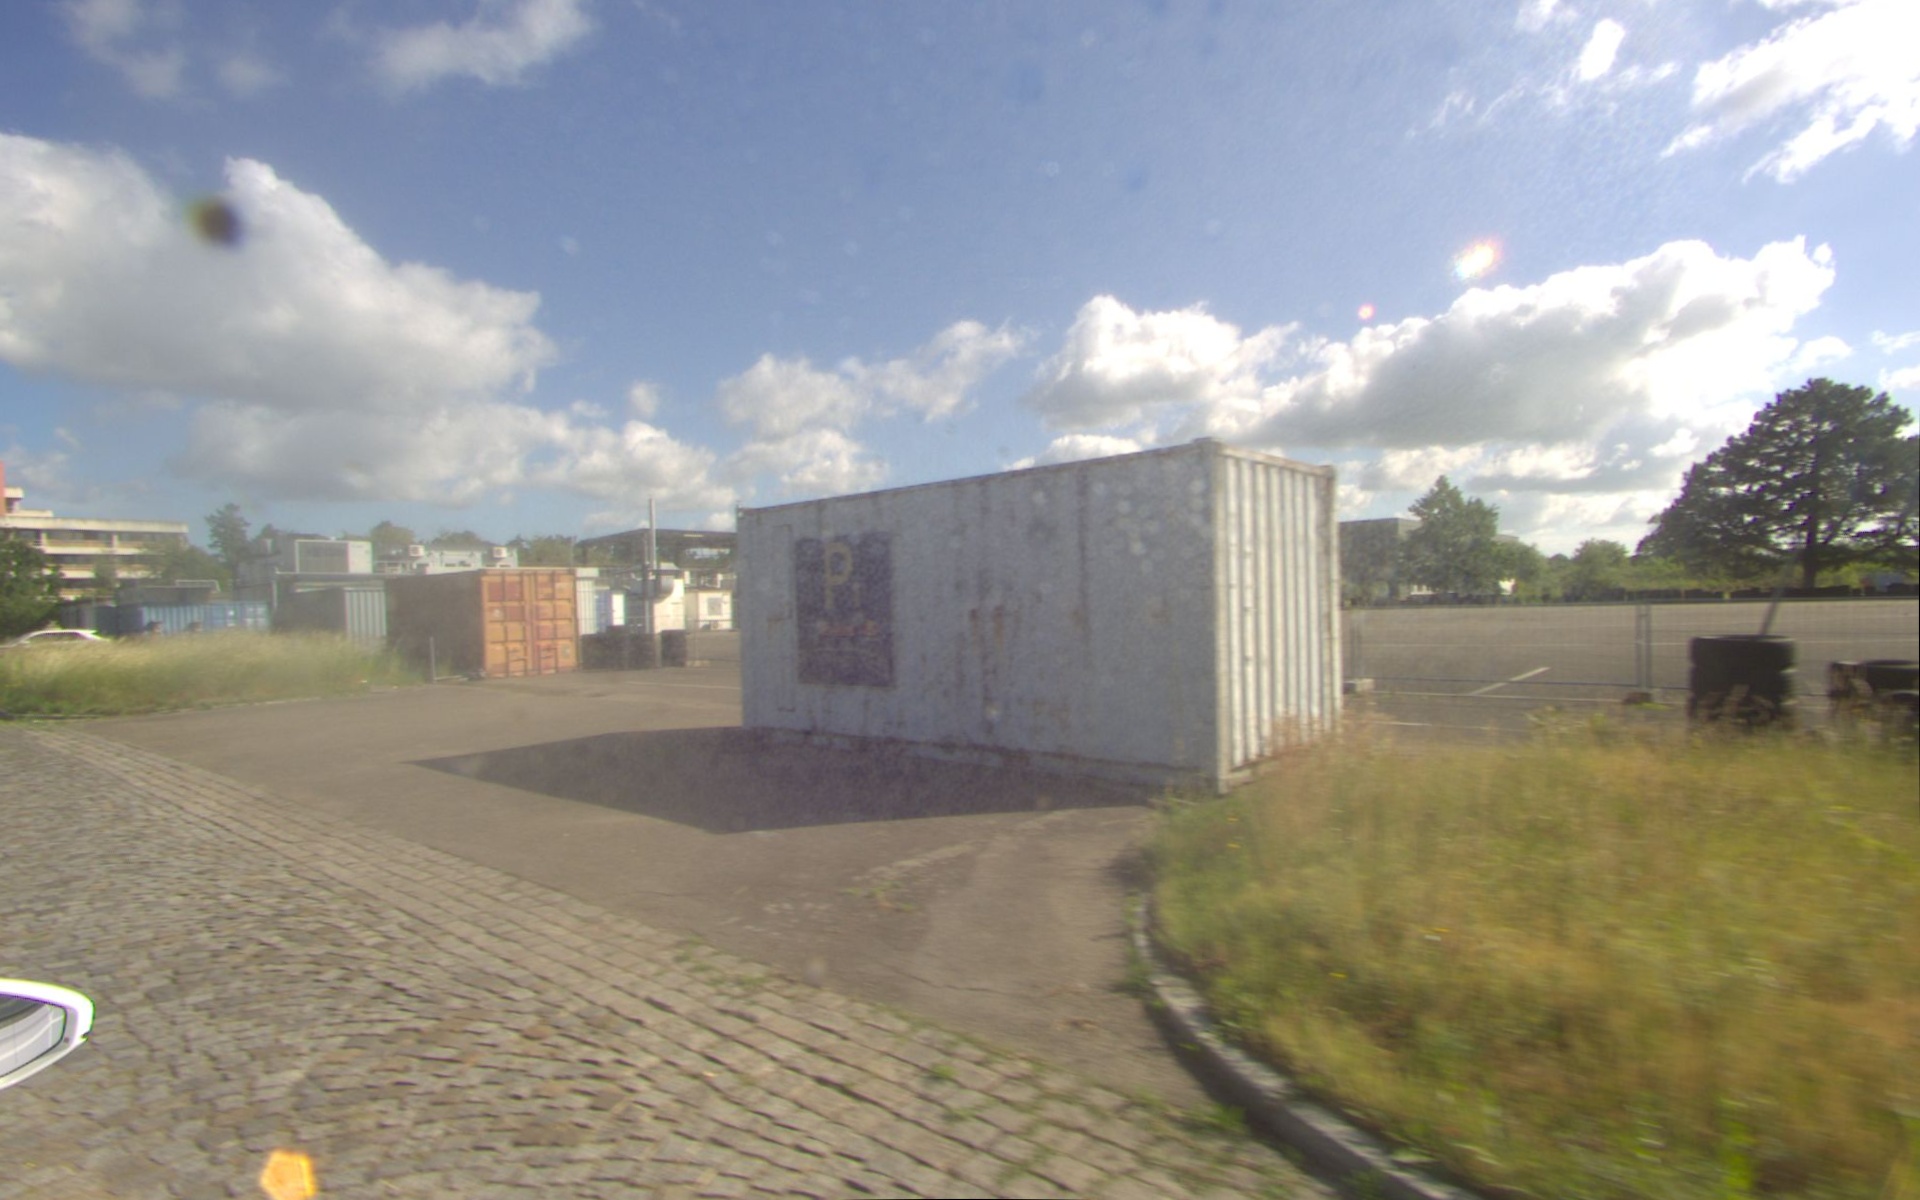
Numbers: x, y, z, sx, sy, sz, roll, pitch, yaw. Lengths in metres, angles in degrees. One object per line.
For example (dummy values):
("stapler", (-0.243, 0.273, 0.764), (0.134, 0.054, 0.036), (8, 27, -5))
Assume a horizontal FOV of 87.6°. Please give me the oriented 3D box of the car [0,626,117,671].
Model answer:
("car", (-38.677, 2.030, 42.217), (1.976, 1.669, 4.484), (-2, 0, 39))
